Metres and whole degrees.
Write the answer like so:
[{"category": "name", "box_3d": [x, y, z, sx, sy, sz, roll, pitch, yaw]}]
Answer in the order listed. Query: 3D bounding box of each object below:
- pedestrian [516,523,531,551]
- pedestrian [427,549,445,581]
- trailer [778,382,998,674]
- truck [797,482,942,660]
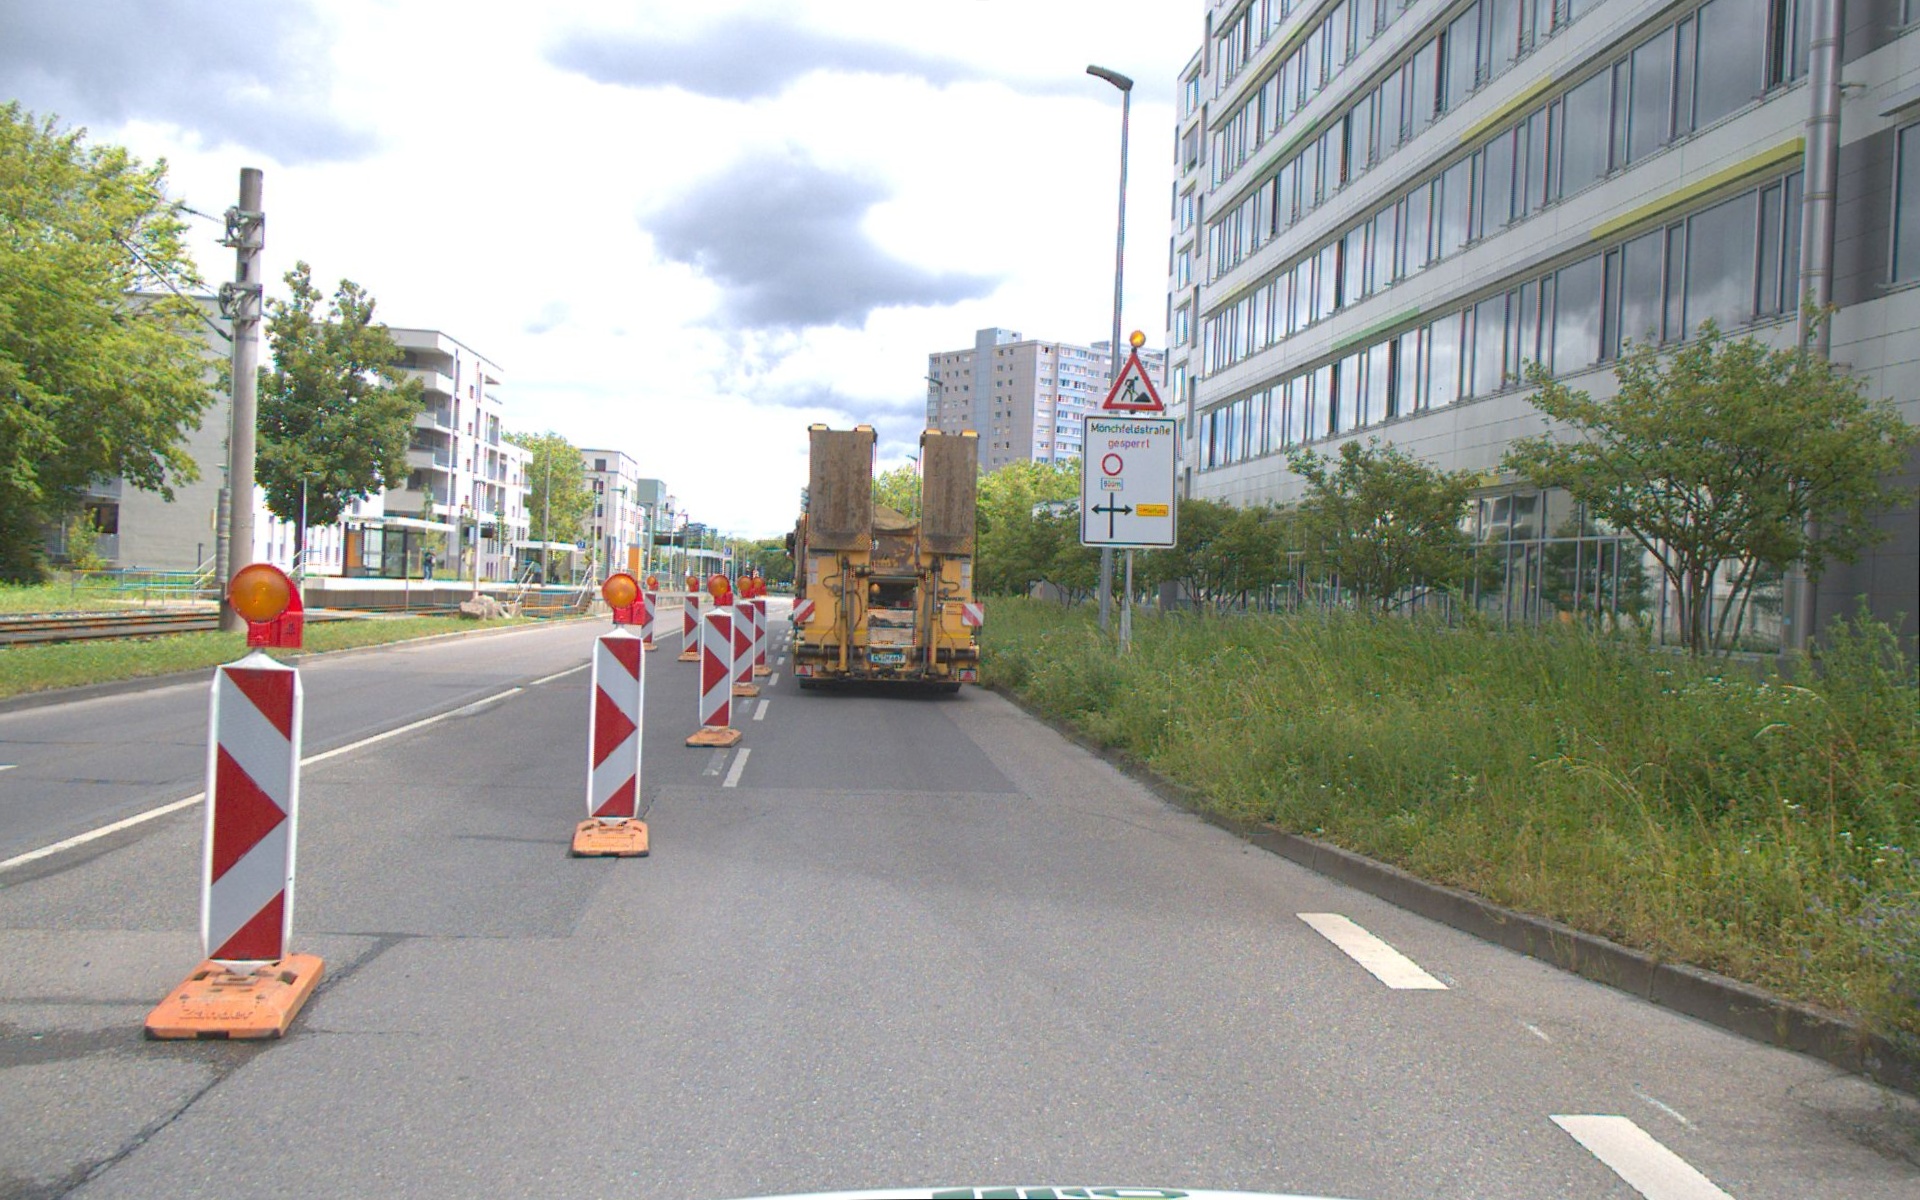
[{"category": "pedestrian", "box_3d": [-28.171, -4.079, 106.724, 0.665, 1.755, 0.486, 3, -2, 40]}, {"category": "pedestrian", "box_3d": [-26.039, -1.738, 82.199, 0.728, 1.558, 0.545, 2, 0, -12]}, {"category": "trailer", "box_3d": [-1.311, -0.940, 26.807, 2.675, 3.621, 11.244, 2, 0, -4]}, {"category": "truck", "box_3d": [-2.081, -0.575, 36.564, 2.699, 3.371, 8.344, 2, 0, -4]}]
